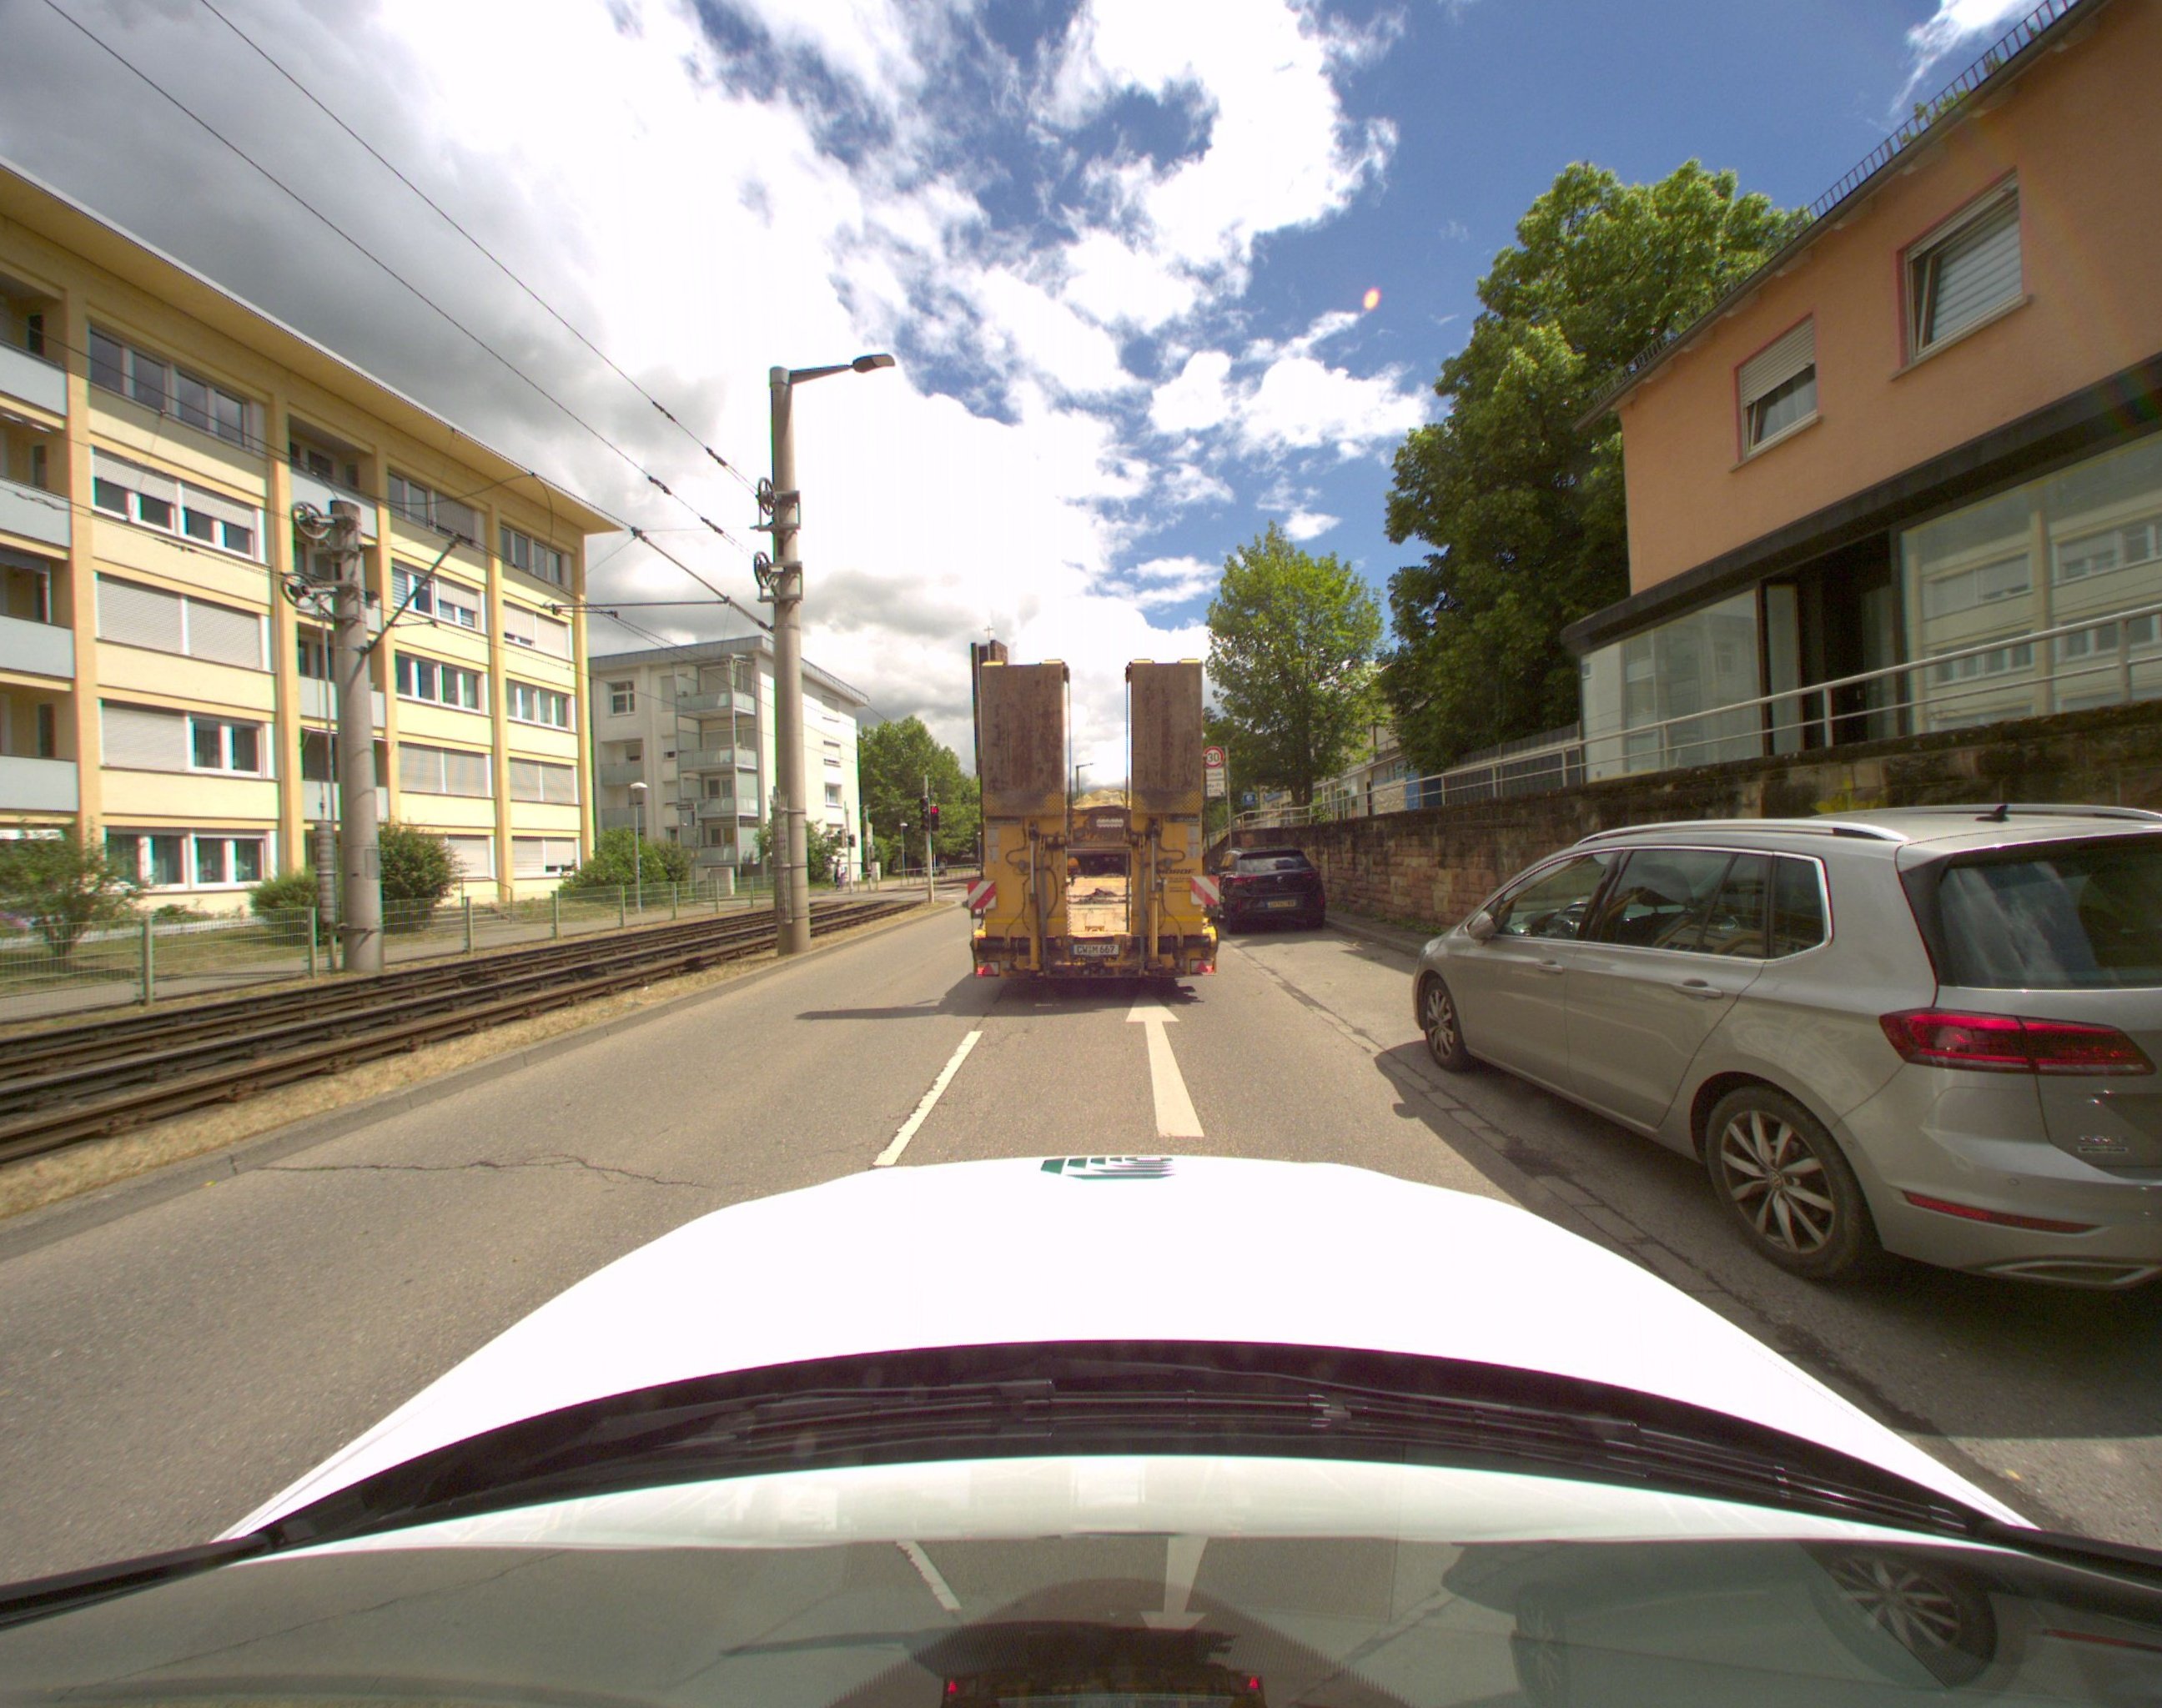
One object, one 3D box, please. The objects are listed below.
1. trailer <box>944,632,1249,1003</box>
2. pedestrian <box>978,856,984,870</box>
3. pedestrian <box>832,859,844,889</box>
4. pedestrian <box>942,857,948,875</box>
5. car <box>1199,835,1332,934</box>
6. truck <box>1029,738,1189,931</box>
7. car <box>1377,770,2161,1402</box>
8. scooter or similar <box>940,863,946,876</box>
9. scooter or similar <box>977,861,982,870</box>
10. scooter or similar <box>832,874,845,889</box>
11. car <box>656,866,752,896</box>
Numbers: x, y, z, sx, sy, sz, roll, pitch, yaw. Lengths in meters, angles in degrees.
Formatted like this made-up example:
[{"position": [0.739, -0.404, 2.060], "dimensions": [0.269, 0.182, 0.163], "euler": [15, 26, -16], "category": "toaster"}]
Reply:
[{"position": [0.360, -0.368, 12.452], "dimensions": [2.933, 3.601, 8.690], "euler": [-2, 0, 3], "category": "trailer"}, {"position": [-10.525, 0.951, 85.491], "dimensions": [0.562, 1.513, 0.646], "euler": [0, 0, 1], "category": "pedestrian"}, {"position": [-12.986, 1.056, 43.480], "dimensions": [0.435, 1.581, 0.475], "euler": [-2, 0, 6], "category": "pedestrian"}, {"position": [-11.500, 1.033, 68.793], "dimensions": [0.346, 1.537, 0.558], "euler": [-2, 0, 5], "category": "pedestrian"}, {"position": [3.523, 0.533, 16.264], "dimensions": [1.843, 1.639, 4.003], "euler": [-3, 0, 3], "category": "car"}, {"position": [0.627, -0.375, 17.925], "dimensions": [2.931, 3.572, 4.880], "euler": [-2, 0, 2], "category": "truck"}, {"position": [3.213, 0.570, 4.254], "dimensions": [1.783, 1.617, 4.249], "euler": [-3, 0, 1], "category": "car"}, {"position": [-11.532, 1.268, 68.142], "dimensions": [0.336, 1.057, 0.688], "euler": [-2, 1, 4], "category": "scooter or similar"}, {"position": [-10.561, 1.214, 84.833], "dimensions": [0.504, 0.971, 0.646], "euler": [0, 0, 1], "category": "scooter or similar"}, {"position": [-12.801, 1.466, 42.986], "dimensions": [0.435, 0.747, 0.475], "euler": [-2, 0, 7], "category": "scooter or similar"}, {"position": [-19.194, 1.373, 41.548], "dimensions": [3.963, 1.345, 1.906], "euler": [-2, 0, 9], "category": "car"}]
